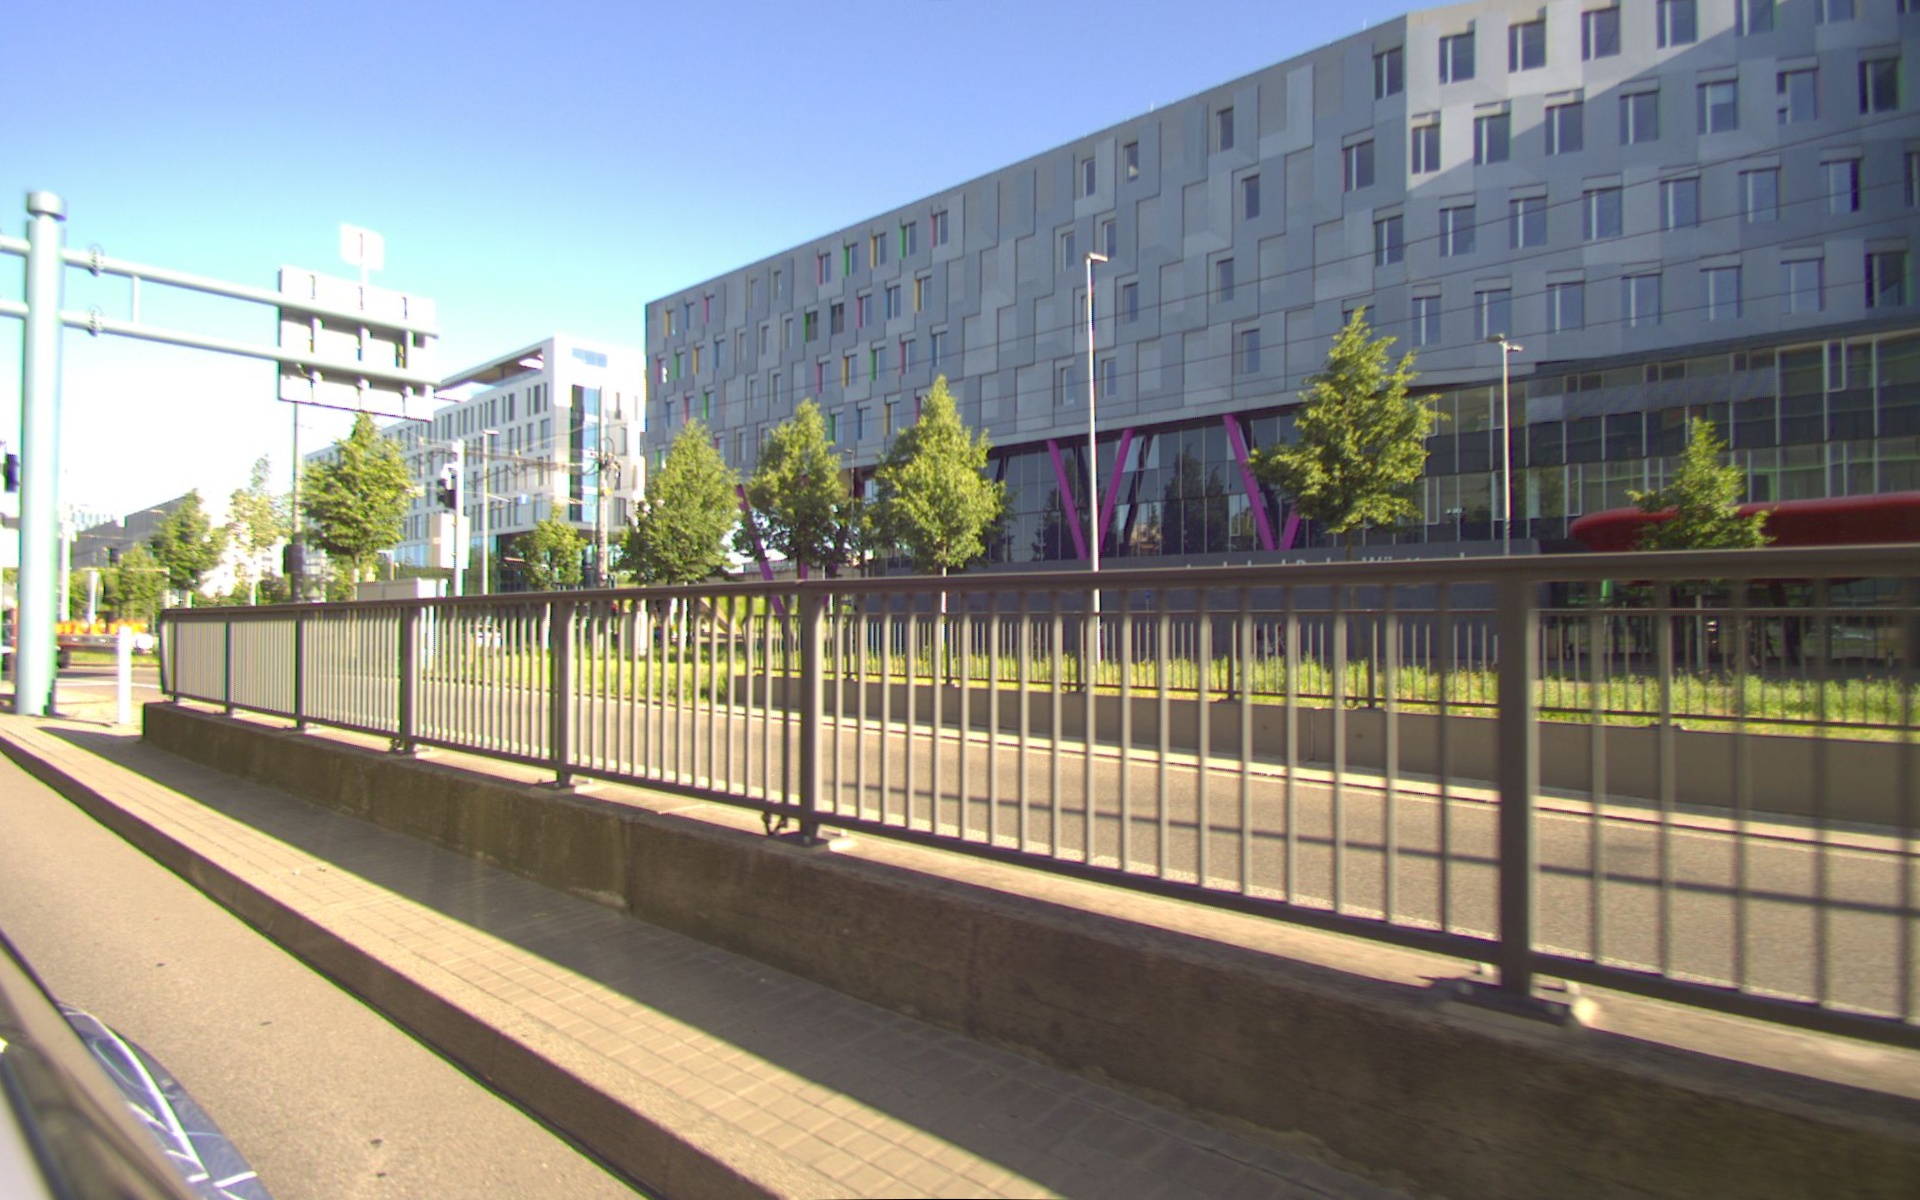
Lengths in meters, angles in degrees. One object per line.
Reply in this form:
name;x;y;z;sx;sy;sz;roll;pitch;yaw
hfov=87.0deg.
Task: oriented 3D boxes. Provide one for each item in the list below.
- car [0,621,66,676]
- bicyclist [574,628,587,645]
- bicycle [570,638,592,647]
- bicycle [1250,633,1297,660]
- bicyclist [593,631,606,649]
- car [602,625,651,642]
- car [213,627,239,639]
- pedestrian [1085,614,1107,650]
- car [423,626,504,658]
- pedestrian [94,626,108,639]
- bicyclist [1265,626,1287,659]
car;-29.106;1.456;31.146;4.340;1.538;1.780;-1;0;41
bicyclist;-35.707;3.428;95.249;0.751;1.595;0.943;-2;-2;43
bicycle;-35.657;4.007;95.277;0.749;0.869;1.804;-2;-2;43
bicycle;14.035;2.075;45.330;1.974;1.181;0.514;-2;-2;42
bicyclist;-28.775;3.188;80.836;0.957;1.446;0.565;-2;-2;38
car;-31.348;3.132;95.275;2.001;1.577;3.942;-2;-2;44
car;-94.292;4.220;129.986;4.340;1.538;1.780;-1;0;41
pedestrian;6.938;1.636;51.699;0.871;1.836;0.713;-2;-2;42
car;-25.662;2.145;52.217;4.868;1.574;1.973;-2;-2;40
pedestrian;-93.788;3.556;110.488;1.053;1.477;0.845;0;-1;-44
bicyclist;14.235;1.908;45.562;0.763;1.507;0.552;-2;-2;41
